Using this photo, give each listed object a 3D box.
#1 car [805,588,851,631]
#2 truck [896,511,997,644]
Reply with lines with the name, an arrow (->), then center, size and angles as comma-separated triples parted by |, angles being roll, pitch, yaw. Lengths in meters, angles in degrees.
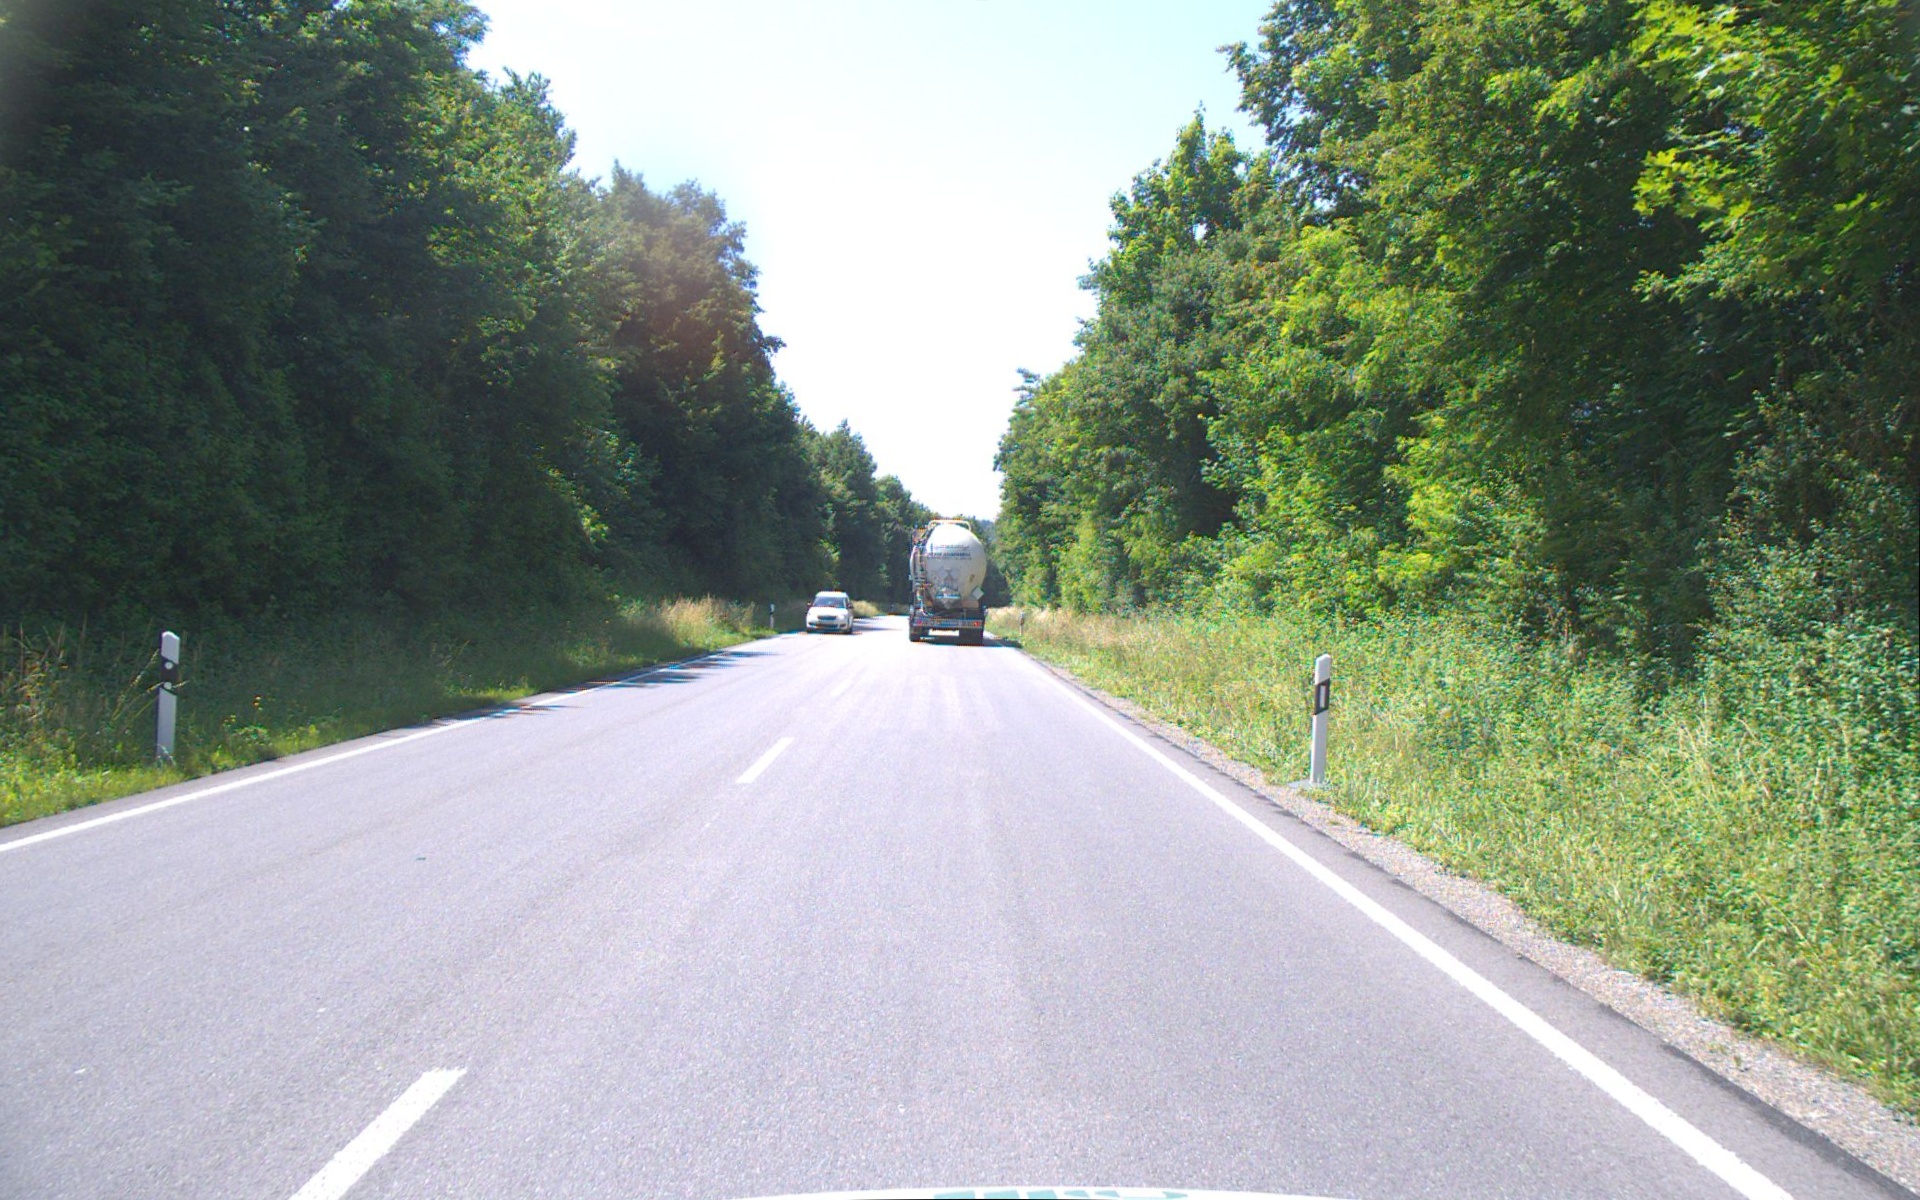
car -> -5.141, 0.344, 64.839 | 1.481, 1.620, 3.793 | 1, 0, 0
truck -> -0.681, -0.688, 60.197 | 2.988, 4.068, 15.630 | 3, 0, -2
